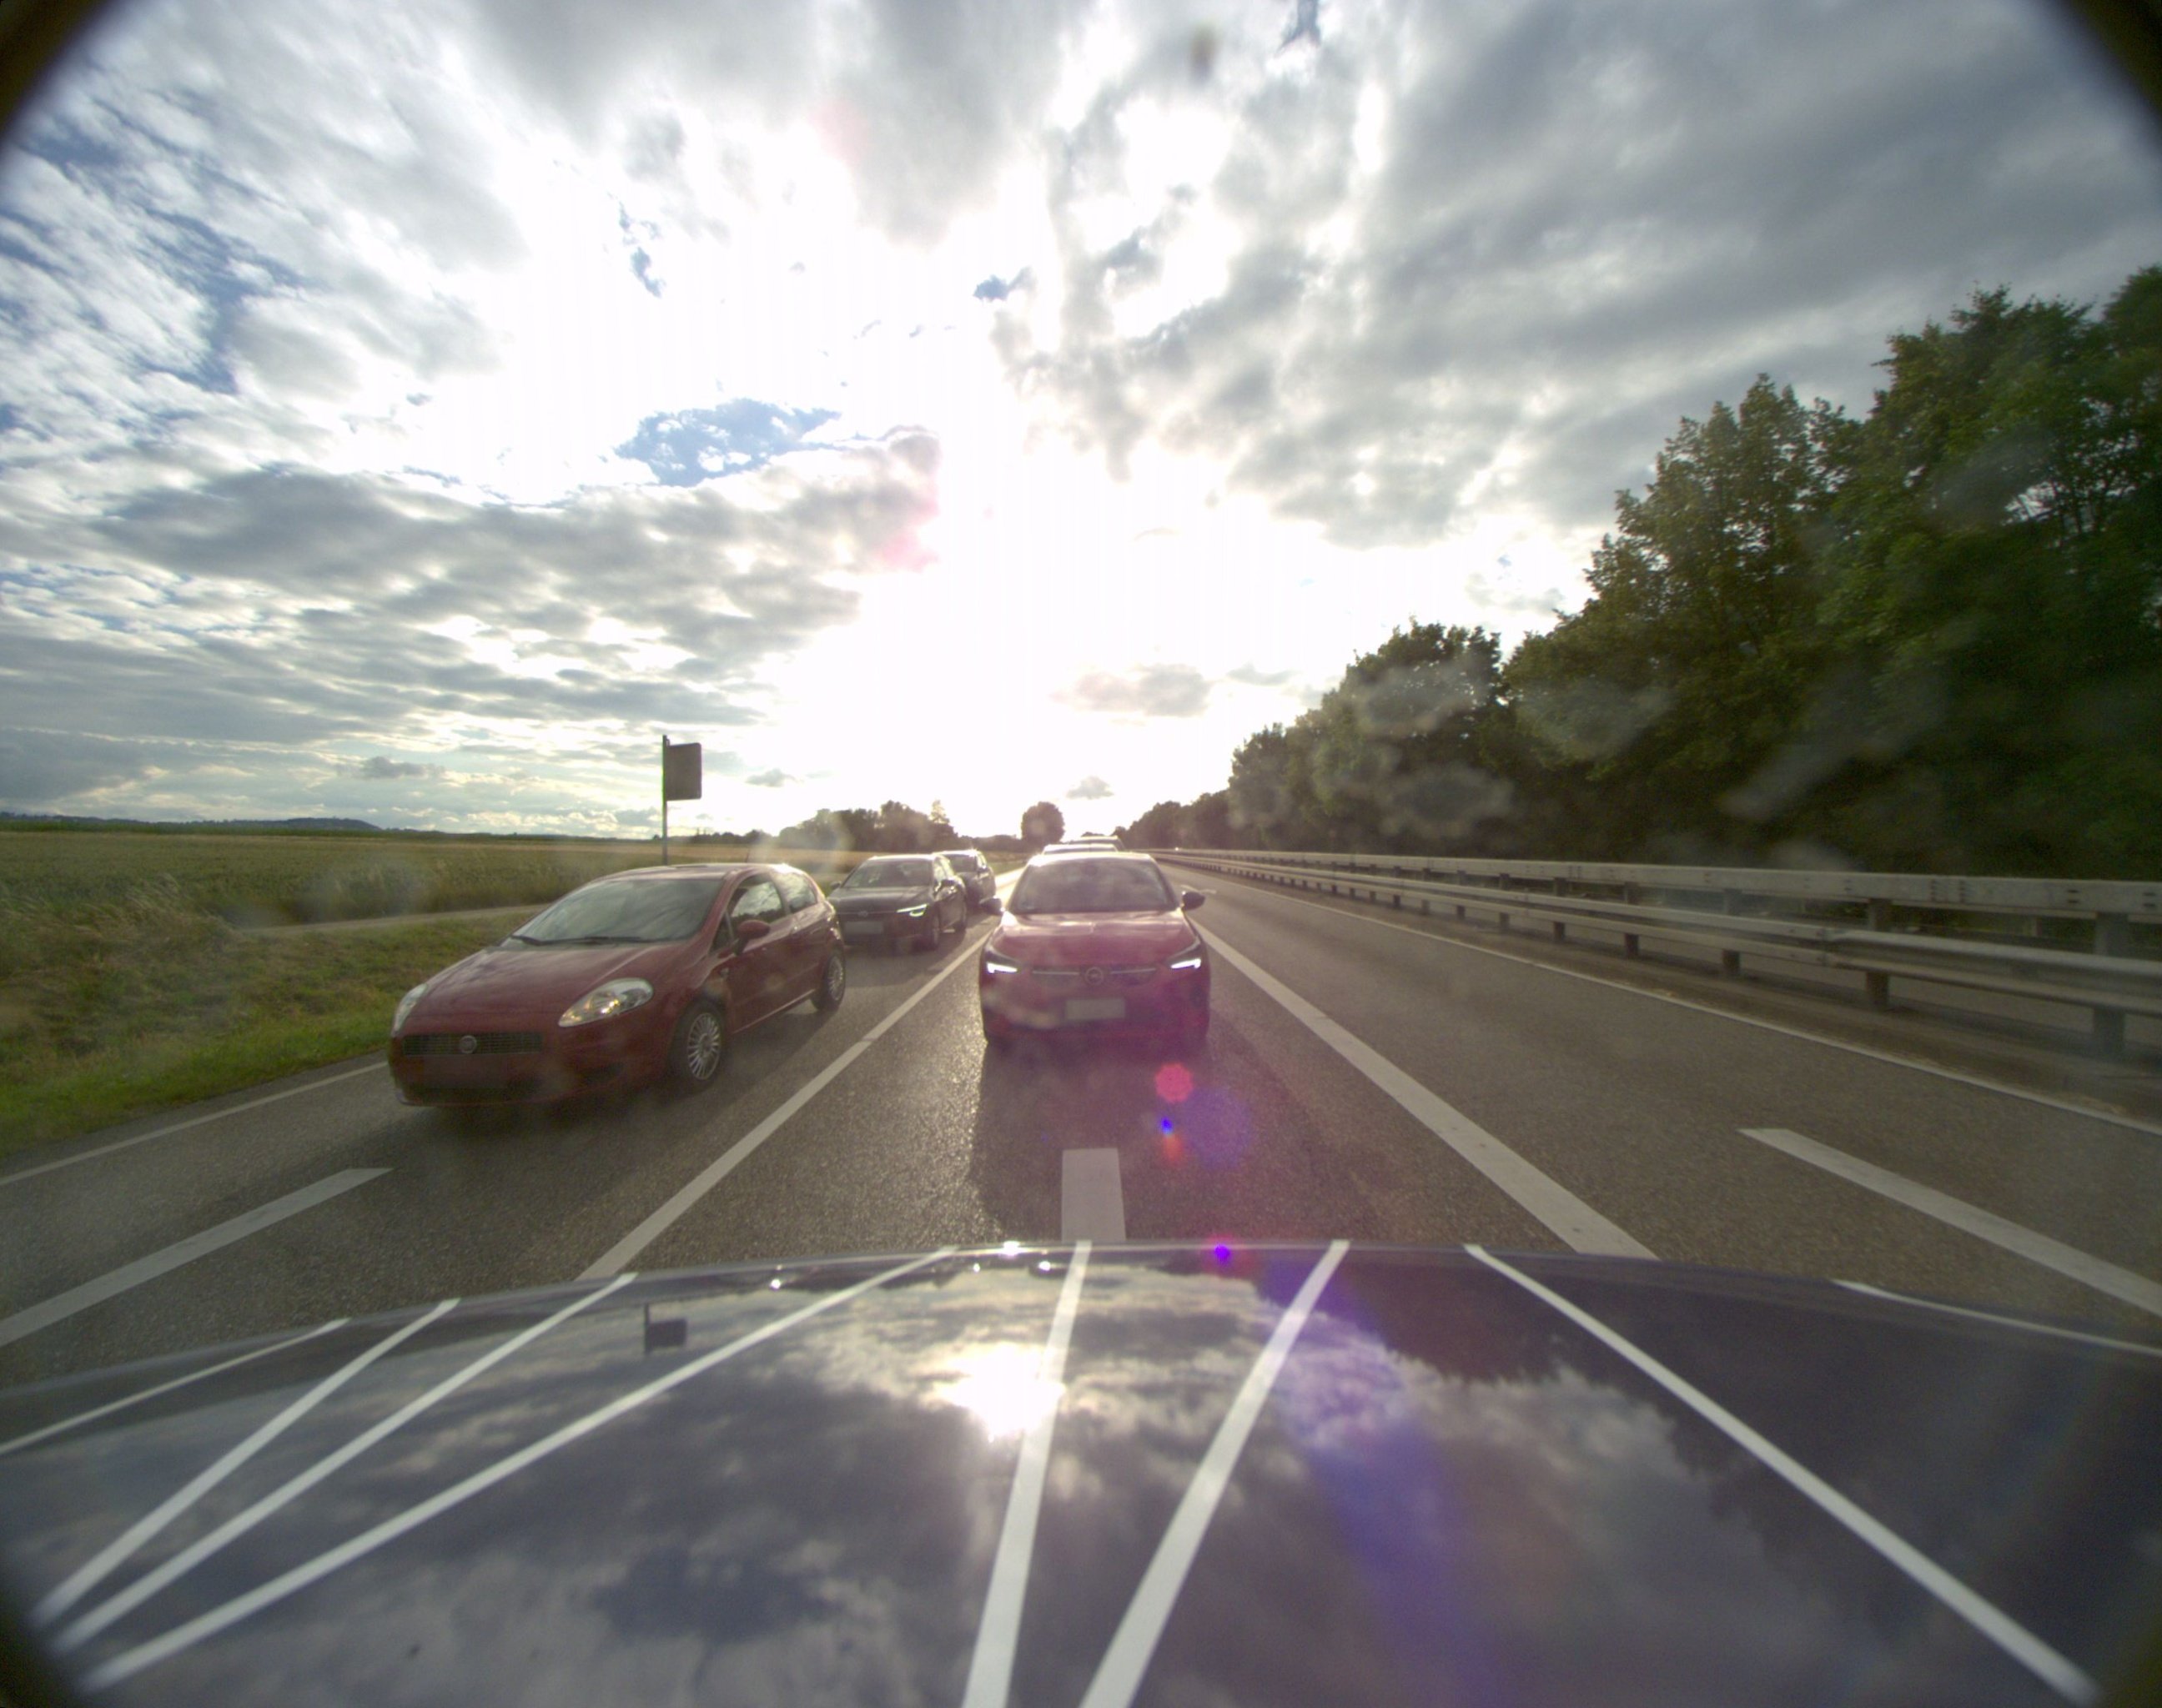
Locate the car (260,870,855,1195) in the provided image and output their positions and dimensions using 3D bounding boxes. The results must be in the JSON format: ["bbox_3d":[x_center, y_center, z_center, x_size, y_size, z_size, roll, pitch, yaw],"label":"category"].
[{"bbox_3d":[-3.200,0.943,5.741,1.668,1.467,3.865,-2,1,2],"label":"car"}]

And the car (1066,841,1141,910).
[{"bbox_3d":[0.614,0.514,20.445,1.786,1.624,3.865,-2,1,2],"label":"car"}]

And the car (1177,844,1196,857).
[{"bbox_3d":[14.117,-0.484,102.066,1.949,1.652,3.999,-1,1,0],"label":"car"}]

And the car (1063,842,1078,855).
[{"bbox_3d":[-1.576,-0.790,113.067,1.998,1.740,3.999,2,2,1],"label":"car"}]

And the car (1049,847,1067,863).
[{"bbox_3d":[-2.571,0.086,85.957,1.949,1.652,3.999,-1,1,0],"label":"car"}]

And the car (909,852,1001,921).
[{"bbox_3d":[-3.034,0.739,18.931,1.631,1.467,3.474,-2,1,1],"label":"car"}]

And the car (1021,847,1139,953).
[{"bbox_3d":[-0.002,0.672,13.405,1.758,1.543,3.999,0,1,0],"label":"car"}]

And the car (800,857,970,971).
[{"bbox_3d":[-3.020,0.850,12.555,1.723,1.467,3.865,-2,1,0],"label":"car"}]

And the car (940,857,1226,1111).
[{"bbox_3d":[0.075,0.820,6.573,1.723,1.467,3.728,-2,1,2],"label":"car"}]
